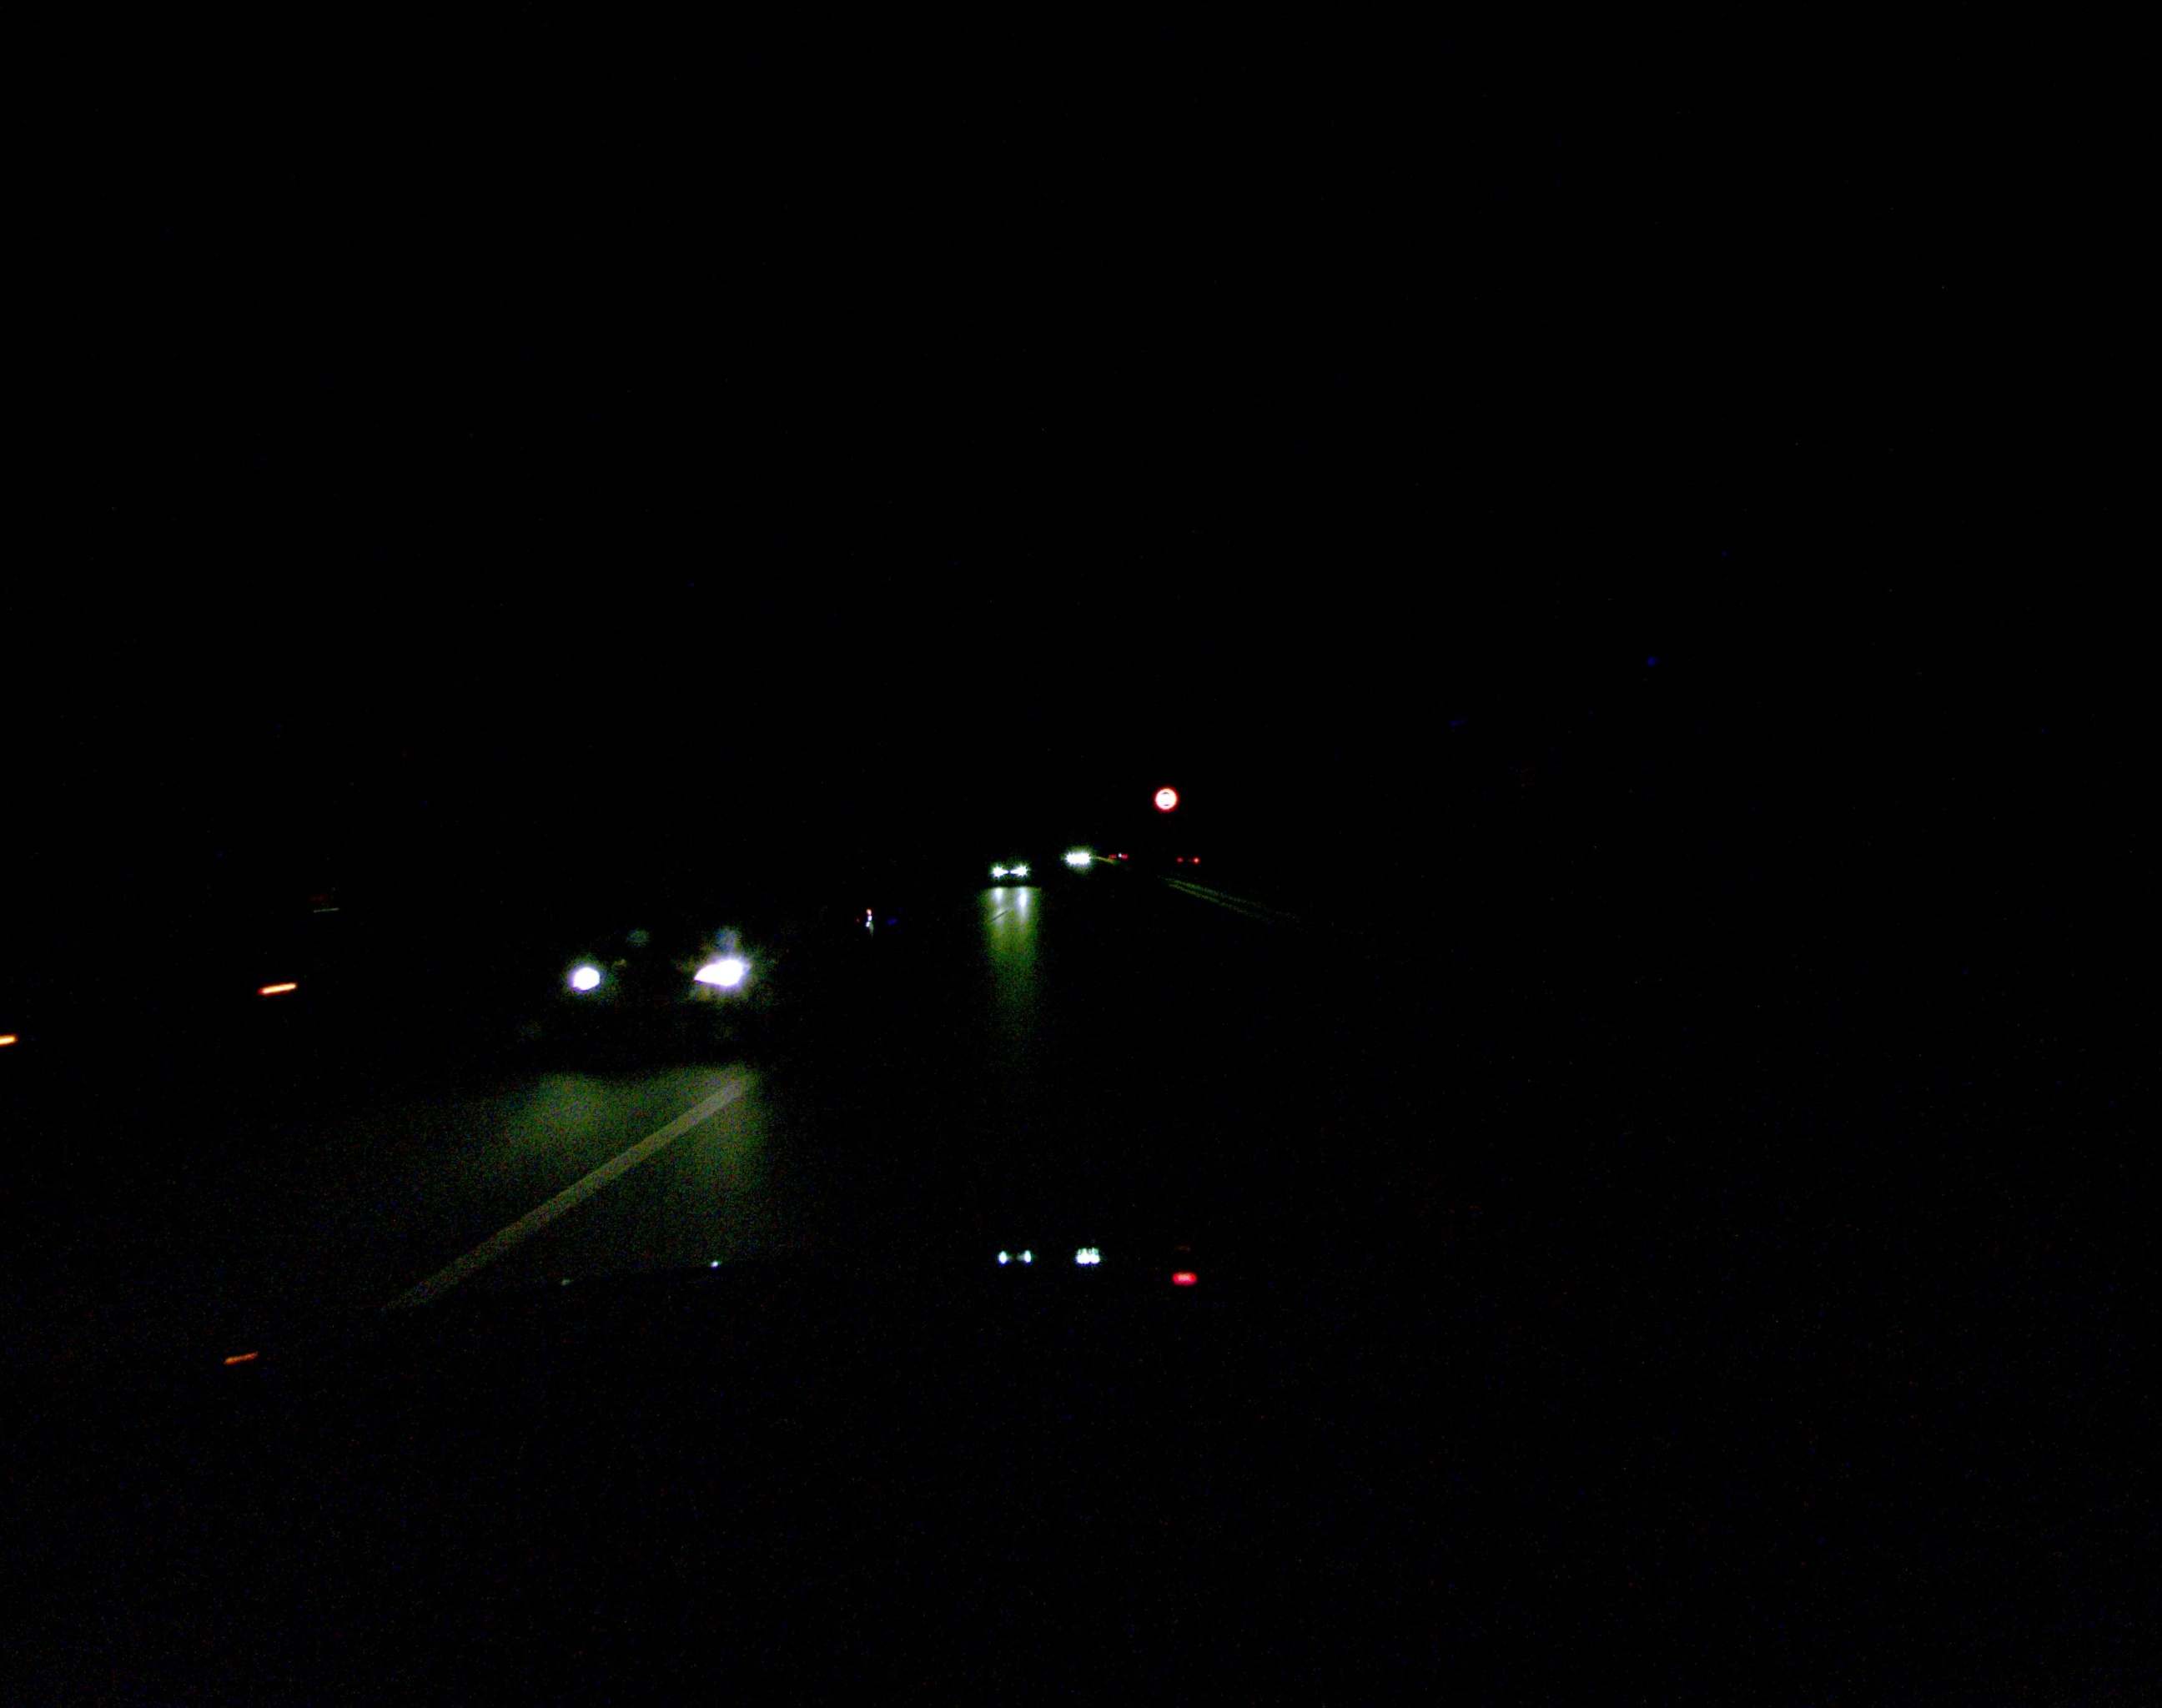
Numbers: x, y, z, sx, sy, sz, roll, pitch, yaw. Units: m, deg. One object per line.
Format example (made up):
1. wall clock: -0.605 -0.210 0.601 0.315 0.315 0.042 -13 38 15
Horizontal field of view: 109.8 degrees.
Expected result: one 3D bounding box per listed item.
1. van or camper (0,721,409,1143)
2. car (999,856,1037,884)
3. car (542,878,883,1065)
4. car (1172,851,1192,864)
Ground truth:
1. van or camper: -8.179 0.536 4.485 2.212 2.755 6.804 -2 0 1
2. car: -3.708 0.922 45.158 1.795 1.532 4.225 -1 0 1
3. car: -3.649 1.057 8.502 1.690 1.405 4.225 0 0 1
4. car: 13.327 0.417 100.898 1.998 1.542 5.004 2 0 1
